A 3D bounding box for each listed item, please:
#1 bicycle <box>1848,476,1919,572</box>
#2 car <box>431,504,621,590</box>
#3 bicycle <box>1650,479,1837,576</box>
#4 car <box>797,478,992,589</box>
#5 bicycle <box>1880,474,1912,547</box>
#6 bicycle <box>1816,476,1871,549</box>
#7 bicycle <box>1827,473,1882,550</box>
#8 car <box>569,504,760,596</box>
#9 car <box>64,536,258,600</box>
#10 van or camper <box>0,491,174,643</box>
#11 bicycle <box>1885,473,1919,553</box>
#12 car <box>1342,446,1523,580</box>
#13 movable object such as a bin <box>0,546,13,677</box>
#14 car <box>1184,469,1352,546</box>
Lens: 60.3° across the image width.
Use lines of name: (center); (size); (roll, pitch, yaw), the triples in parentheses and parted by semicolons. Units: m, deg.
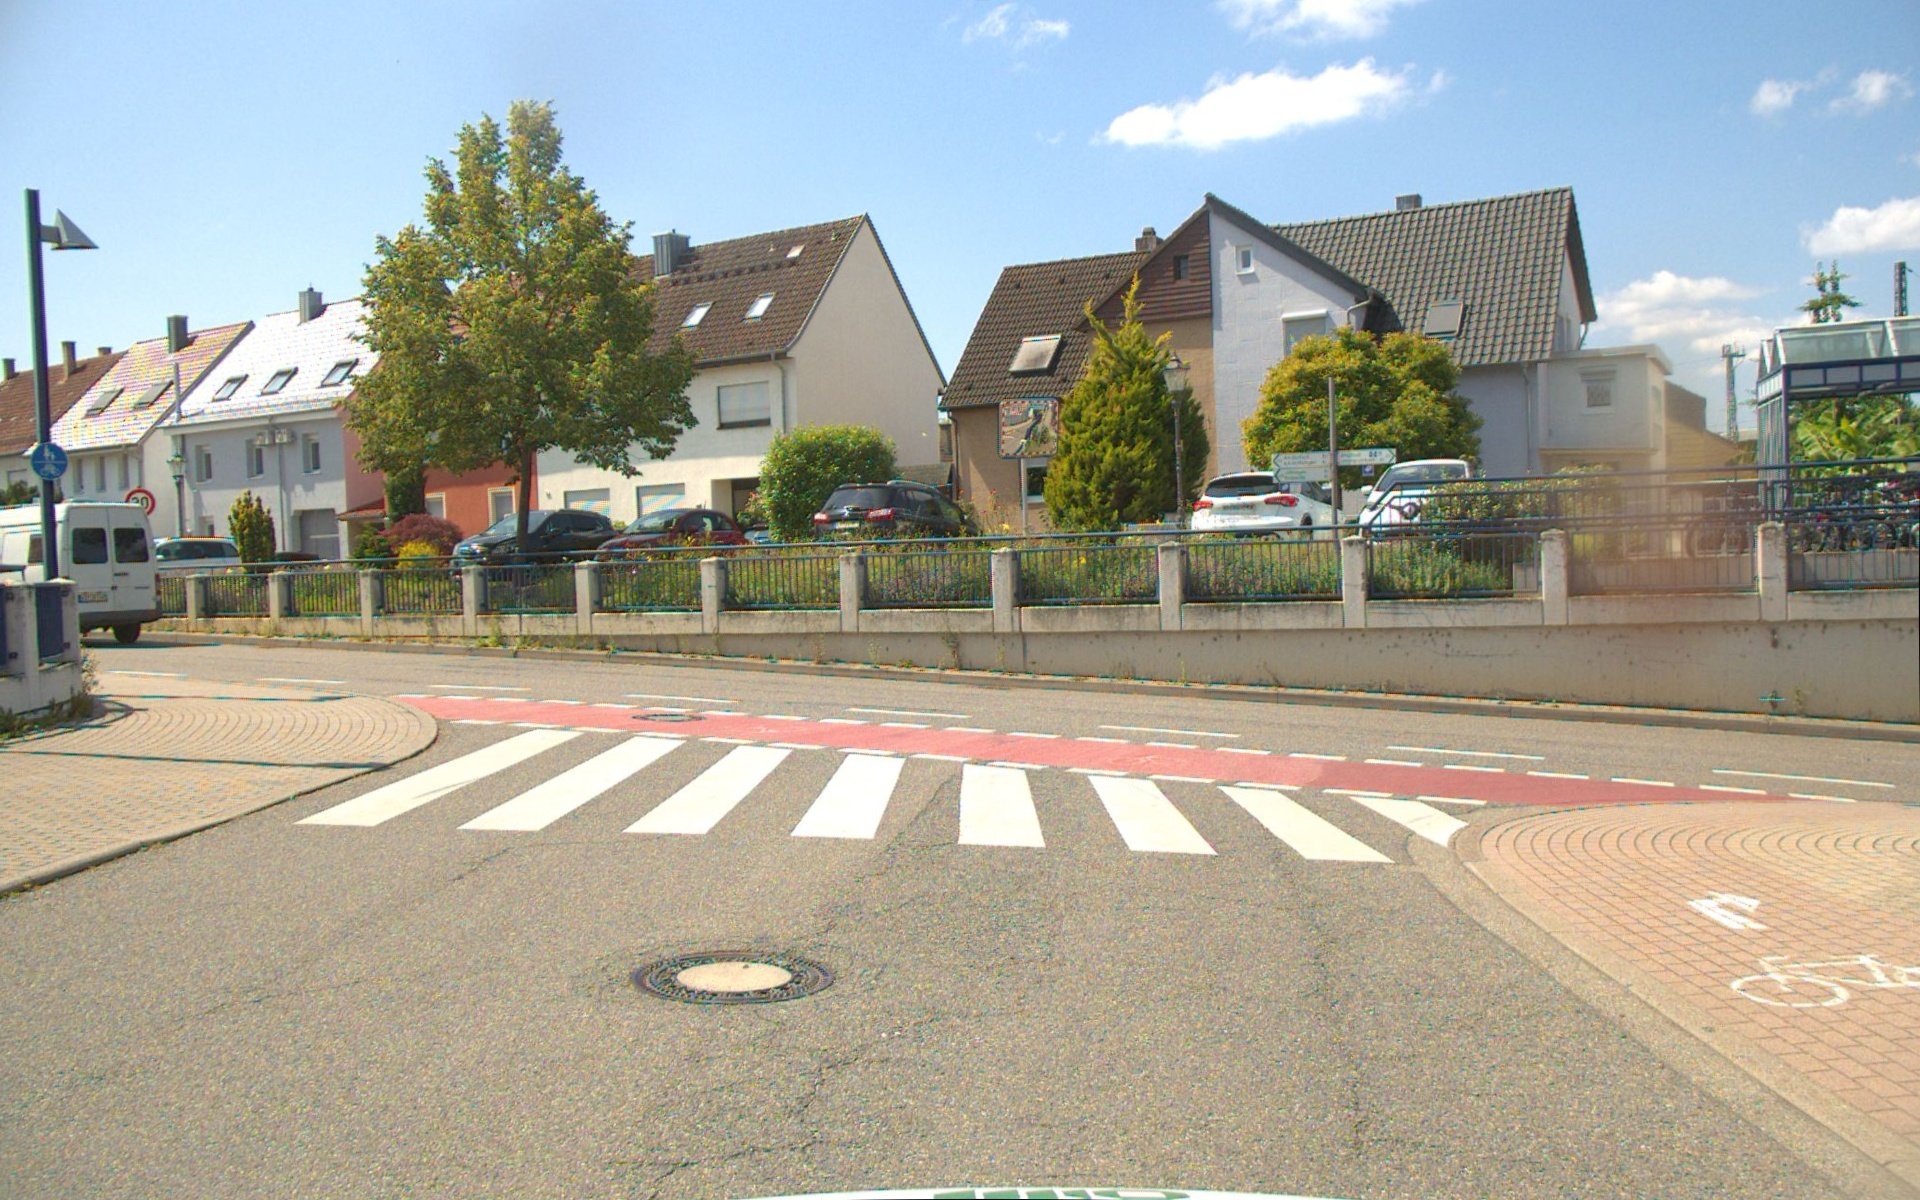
bicycle: (11.911, -0.932, 19.945); (2.071, 1.145, 0.392); (-1, 2, 20)
car: (-8.807, -1.061, 33.802); (1.831, 1.614, 3.607); (3, 2, 25)
bicycle: (9.782, -0.901, 20.705); (2.071, 1.145, 0.333); (-1, 2, 20)
car: (-1.099, -1.157, 29.919); (1.831, 1.828, 3.997); (3, 2, 25)
bicycle: (13.628, -1.292, 24.099); (0.365, 1.012, 1.963); (0, 2, 29)
bicycle: (12.947, -1.277, 24.221); (0.447, 1.012, 1.881); (0, 2, 36)
bicycle: (12.272, -1.206, 22.715); (0.325, 1.012, 2.077); (-1, 2, 19)
car: (-5.614, -0.940, 31.839); (1.831, 1.614, 3.607); (3, 2, 25)
car: (-20.523, -0.795, 42.651); (1.711, 1.514, 4.246); (3, 2, 32)
van or camper: (-17.403, -0.626, 31.483); (5.283, 2.676, 1.998); (1, 0, 34)
bicycle: (12.725, -1.162, 22.060); (0.428, 1.012, 2.095); (0, 2, 36)
car: (7.324, -1.275, 25.338); (1.954, 1.828, 4.193); (3, 2, 25)
movable object such as a bin: (-9.368, 0.122, 15.150); (0.825, 1.234, 1.272); (-1, 1, -13)
car: (4.983, -1.458, 26.457); (1.789, 1.037, 3.457); (3, 2, 25)
